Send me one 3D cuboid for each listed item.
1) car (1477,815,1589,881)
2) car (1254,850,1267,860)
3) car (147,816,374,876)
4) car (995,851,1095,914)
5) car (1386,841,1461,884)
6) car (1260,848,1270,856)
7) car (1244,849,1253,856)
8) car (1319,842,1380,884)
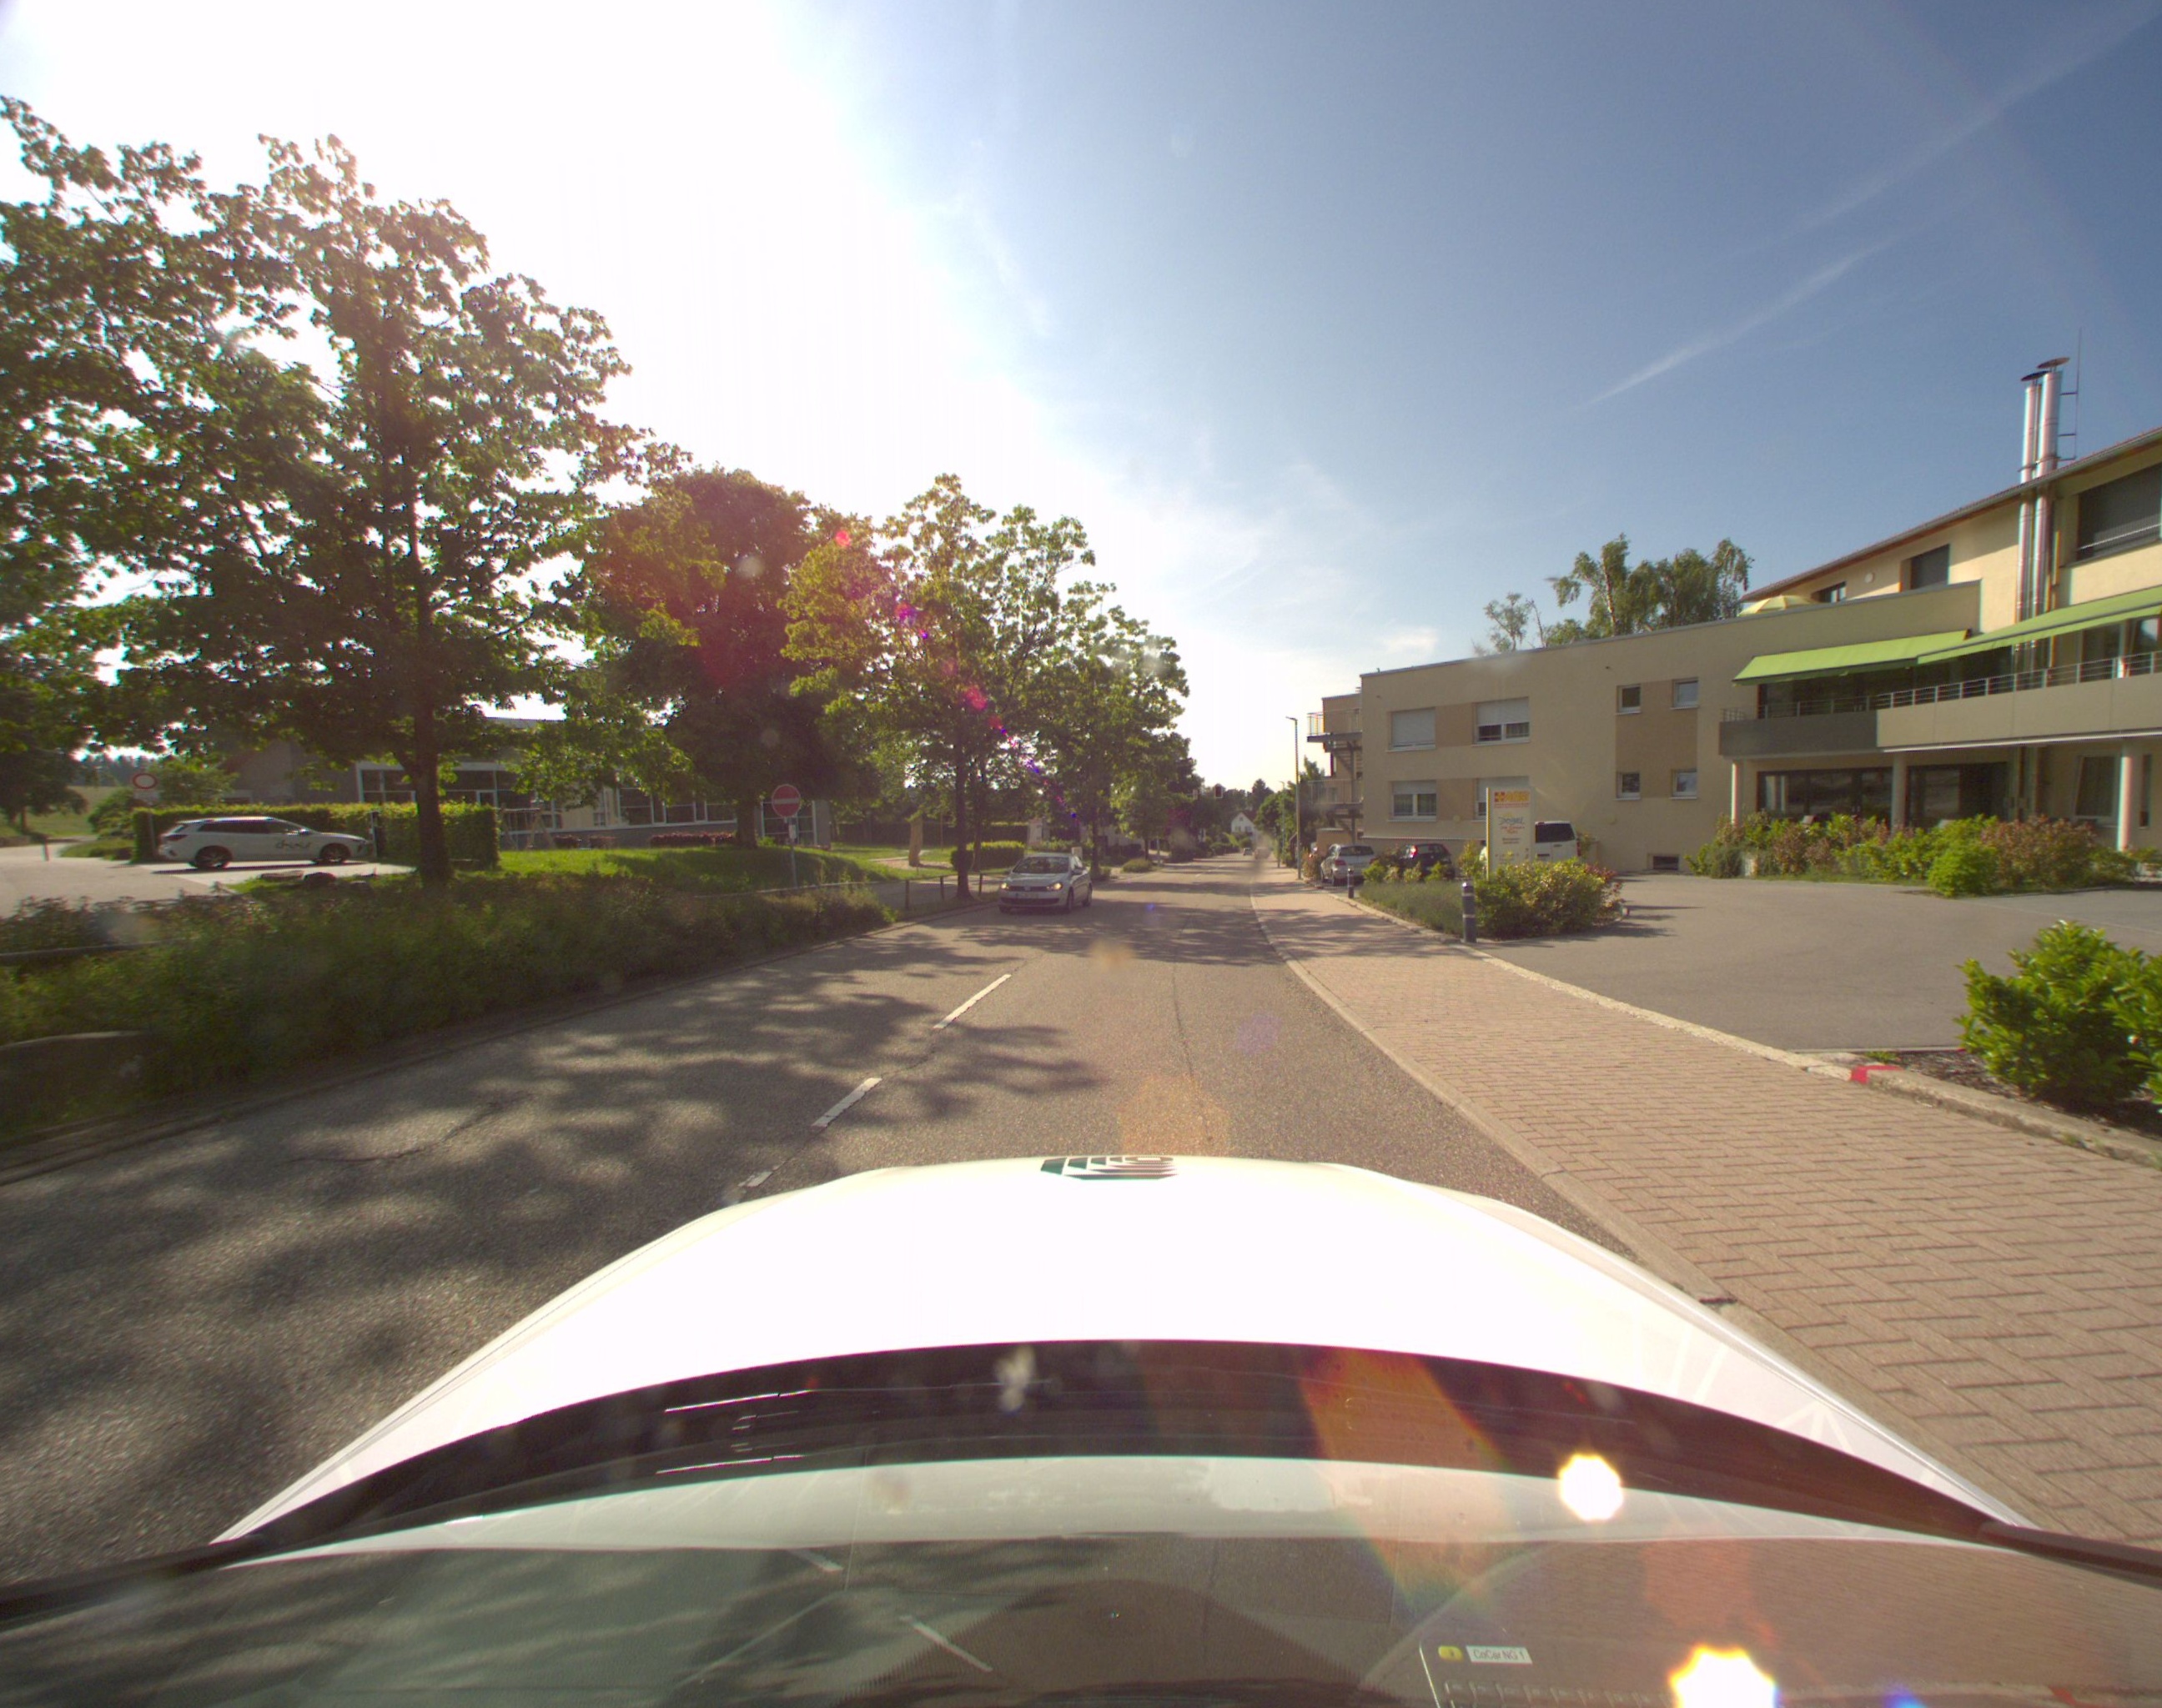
[{"bbox_3d":[14.804,-0.195,26.993,1.792,1.935,4.748,-2,0,10],"label":"car"},{"bbox_3d":[25.555,0.104,115.907,1.697,1.427,4.019,-2,0,10],"label":"car"},{"bbox_3d":[-25.947,-0.339,25.950,1.975,1.533,4.762,4,6,35],"label":"car"},{"bbox_3d":[-0.804,0.663,20.952,1.718,1.443,4.076,0,0,10],"label":"car"},{"bbox_3d":[12.735,0.289,30.509,1.697,1.427,4.019,-2,0,10],"label":"car"},{"bbox_3d":[35.515,-0.388,157.473,1.697,1.427,4.019,-2,0,10],"label":"car"},{"bbox_3d":[35.582,-0.408,172.553,1.696,1.427,4.022,-2,0,14],"label":"car"},{"bbox_3d":[10.529,0.326,32.152,1.697,1.535,4.019,-2,0,10],"label":"car"}]
